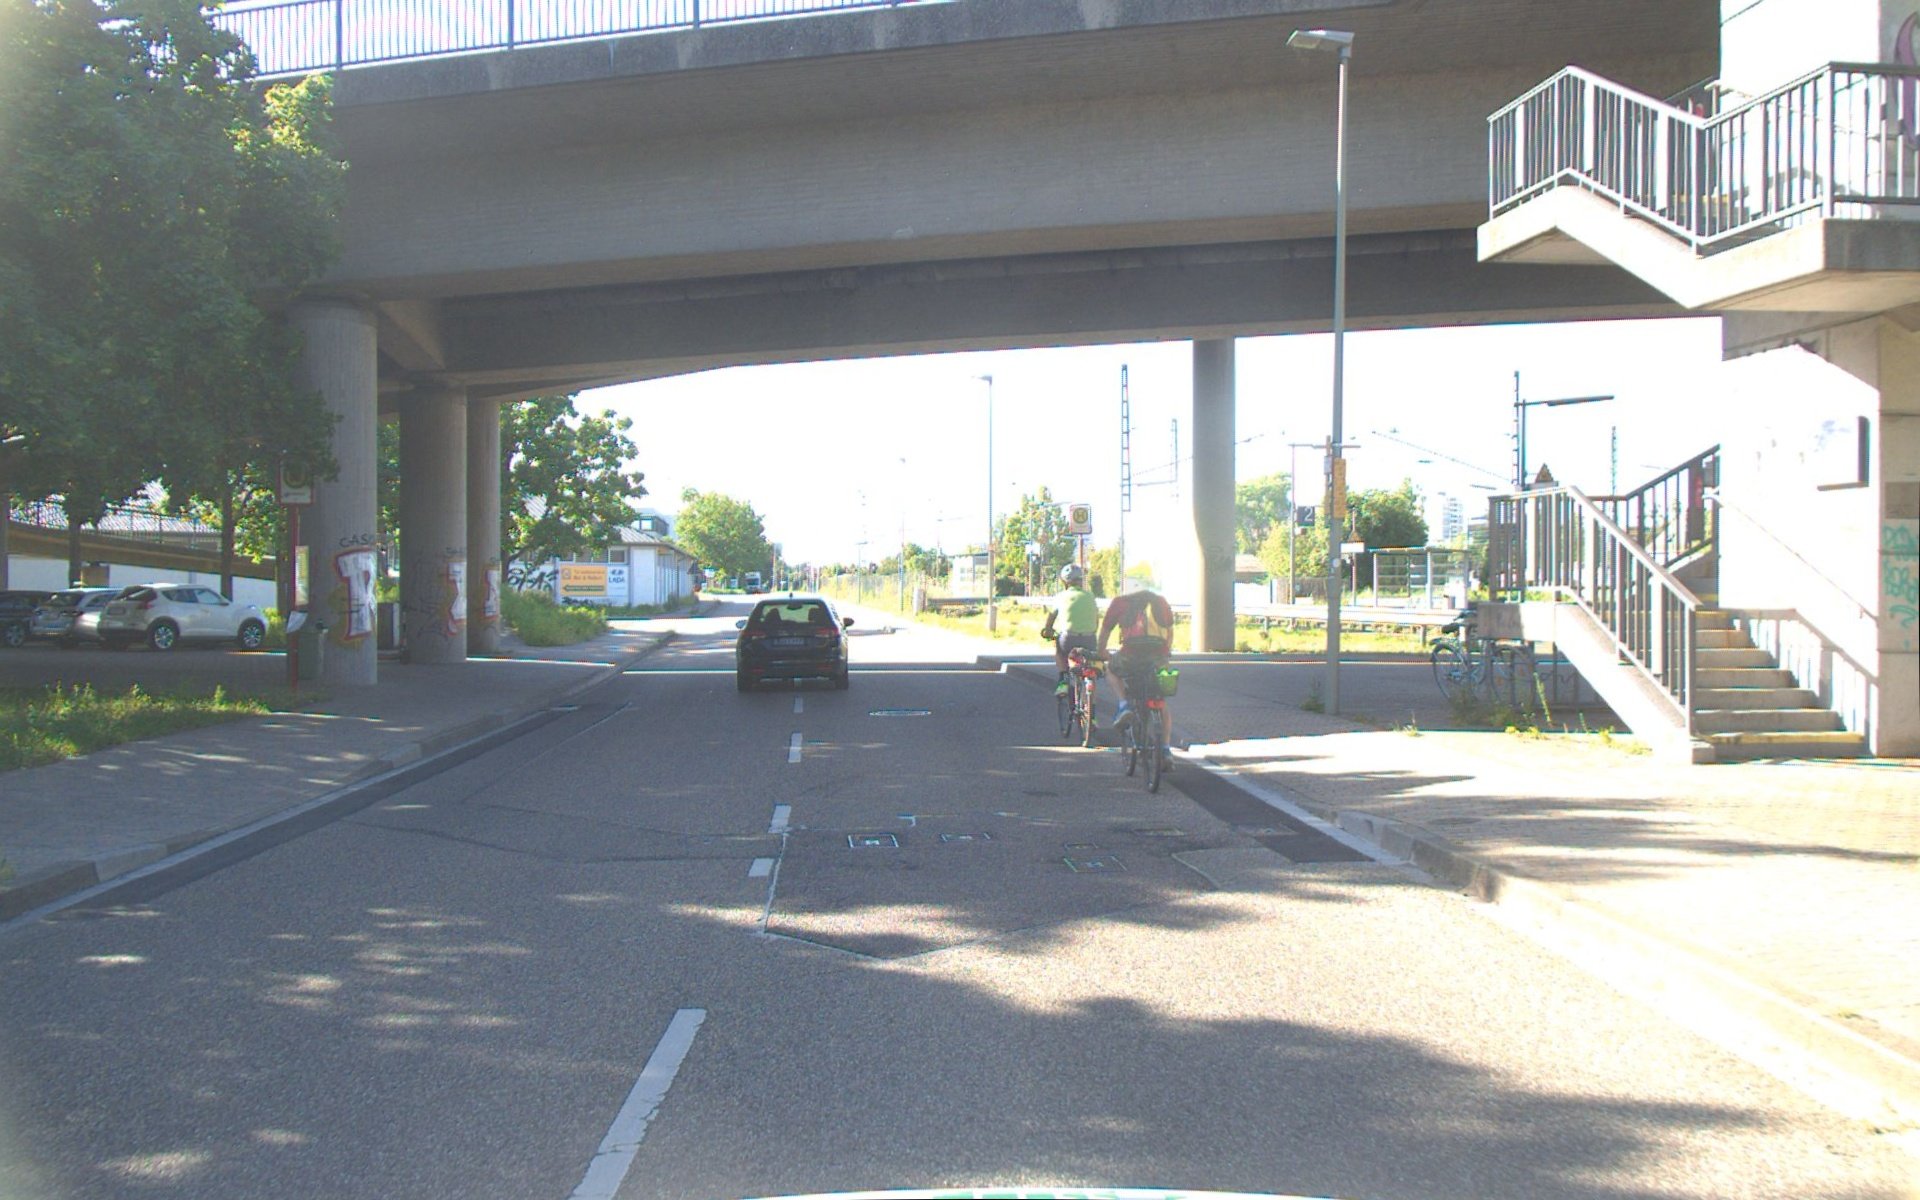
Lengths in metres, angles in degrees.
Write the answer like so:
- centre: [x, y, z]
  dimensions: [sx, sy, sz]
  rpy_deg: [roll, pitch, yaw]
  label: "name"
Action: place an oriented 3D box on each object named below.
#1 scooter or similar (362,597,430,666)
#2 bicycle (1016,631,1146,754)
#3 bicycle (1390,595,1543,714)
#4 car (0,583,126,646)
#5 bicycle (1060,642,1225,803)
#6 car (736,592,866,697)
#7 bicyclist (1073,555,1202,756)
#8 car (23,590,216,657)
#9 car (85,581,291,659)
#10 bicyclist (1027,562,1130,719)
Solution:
- centre: [-10.980, 0.607, 32.199]
  dimensions: [1.281, 1.323, 0.577]
  rpy_deg: [0, 0, 33]
  label: "scooter or similar"
- centre: [1.175, 0.884, 16.555]
  dimensions: [0.825, 1.070, 2.185]
  rpy_deg: [-1, 0, -9]
  label: "bicycle"
- centre: [5.459, 0.554, 17.972]
  dimensions: [0.586, 1.203, 2.174]
  rpy_deg: [-1, 0, -12]
  label: "bicycle"
- centre: [-24.071, 0.345, 42.954]
  dimensions: [1.644, 1.579, 4.298]
  rpy_deg: [0, 0, 22]
  label: "car"
- centre: [1.384, 0.911, 13.008]
  dimensions: [0.824, 1.070, 2.187]
  rpy_deg: [0, 0, -6]
  label: "bicycle"
- centre: [-2.578, 0.654, 26.908]
  dimensions: [1.905, 1.514, 4.560]
  rpy_deg: [-1, 0, -6]
  label: "car"
- centre: [1.378, 0.416, 12.994]
  dimensions: [0.824, 1.514, 0.922]
  rpy_deg: [0, 0, -7]
  label: "bicyclist"
- centre: [-20.971, 0.542, 41.452]
  dimensions: [1.644, 1.579, 4.298]
  rpy_deg: [0, 0, 22]
  label: "car"
- centre: [-18.694, 0.442, 40.255]
  dimensions: [1.827, 1.670, 4.278]
  rpy_deg: [-3, 0, 27]
  label: "car"
- centre: [1.172, 0.385, 16.541]
  dimensions: [0.825, 1.514, 0.921]
  rpy_deg: [-1, 0, -10]
  label: "bicyclist"
